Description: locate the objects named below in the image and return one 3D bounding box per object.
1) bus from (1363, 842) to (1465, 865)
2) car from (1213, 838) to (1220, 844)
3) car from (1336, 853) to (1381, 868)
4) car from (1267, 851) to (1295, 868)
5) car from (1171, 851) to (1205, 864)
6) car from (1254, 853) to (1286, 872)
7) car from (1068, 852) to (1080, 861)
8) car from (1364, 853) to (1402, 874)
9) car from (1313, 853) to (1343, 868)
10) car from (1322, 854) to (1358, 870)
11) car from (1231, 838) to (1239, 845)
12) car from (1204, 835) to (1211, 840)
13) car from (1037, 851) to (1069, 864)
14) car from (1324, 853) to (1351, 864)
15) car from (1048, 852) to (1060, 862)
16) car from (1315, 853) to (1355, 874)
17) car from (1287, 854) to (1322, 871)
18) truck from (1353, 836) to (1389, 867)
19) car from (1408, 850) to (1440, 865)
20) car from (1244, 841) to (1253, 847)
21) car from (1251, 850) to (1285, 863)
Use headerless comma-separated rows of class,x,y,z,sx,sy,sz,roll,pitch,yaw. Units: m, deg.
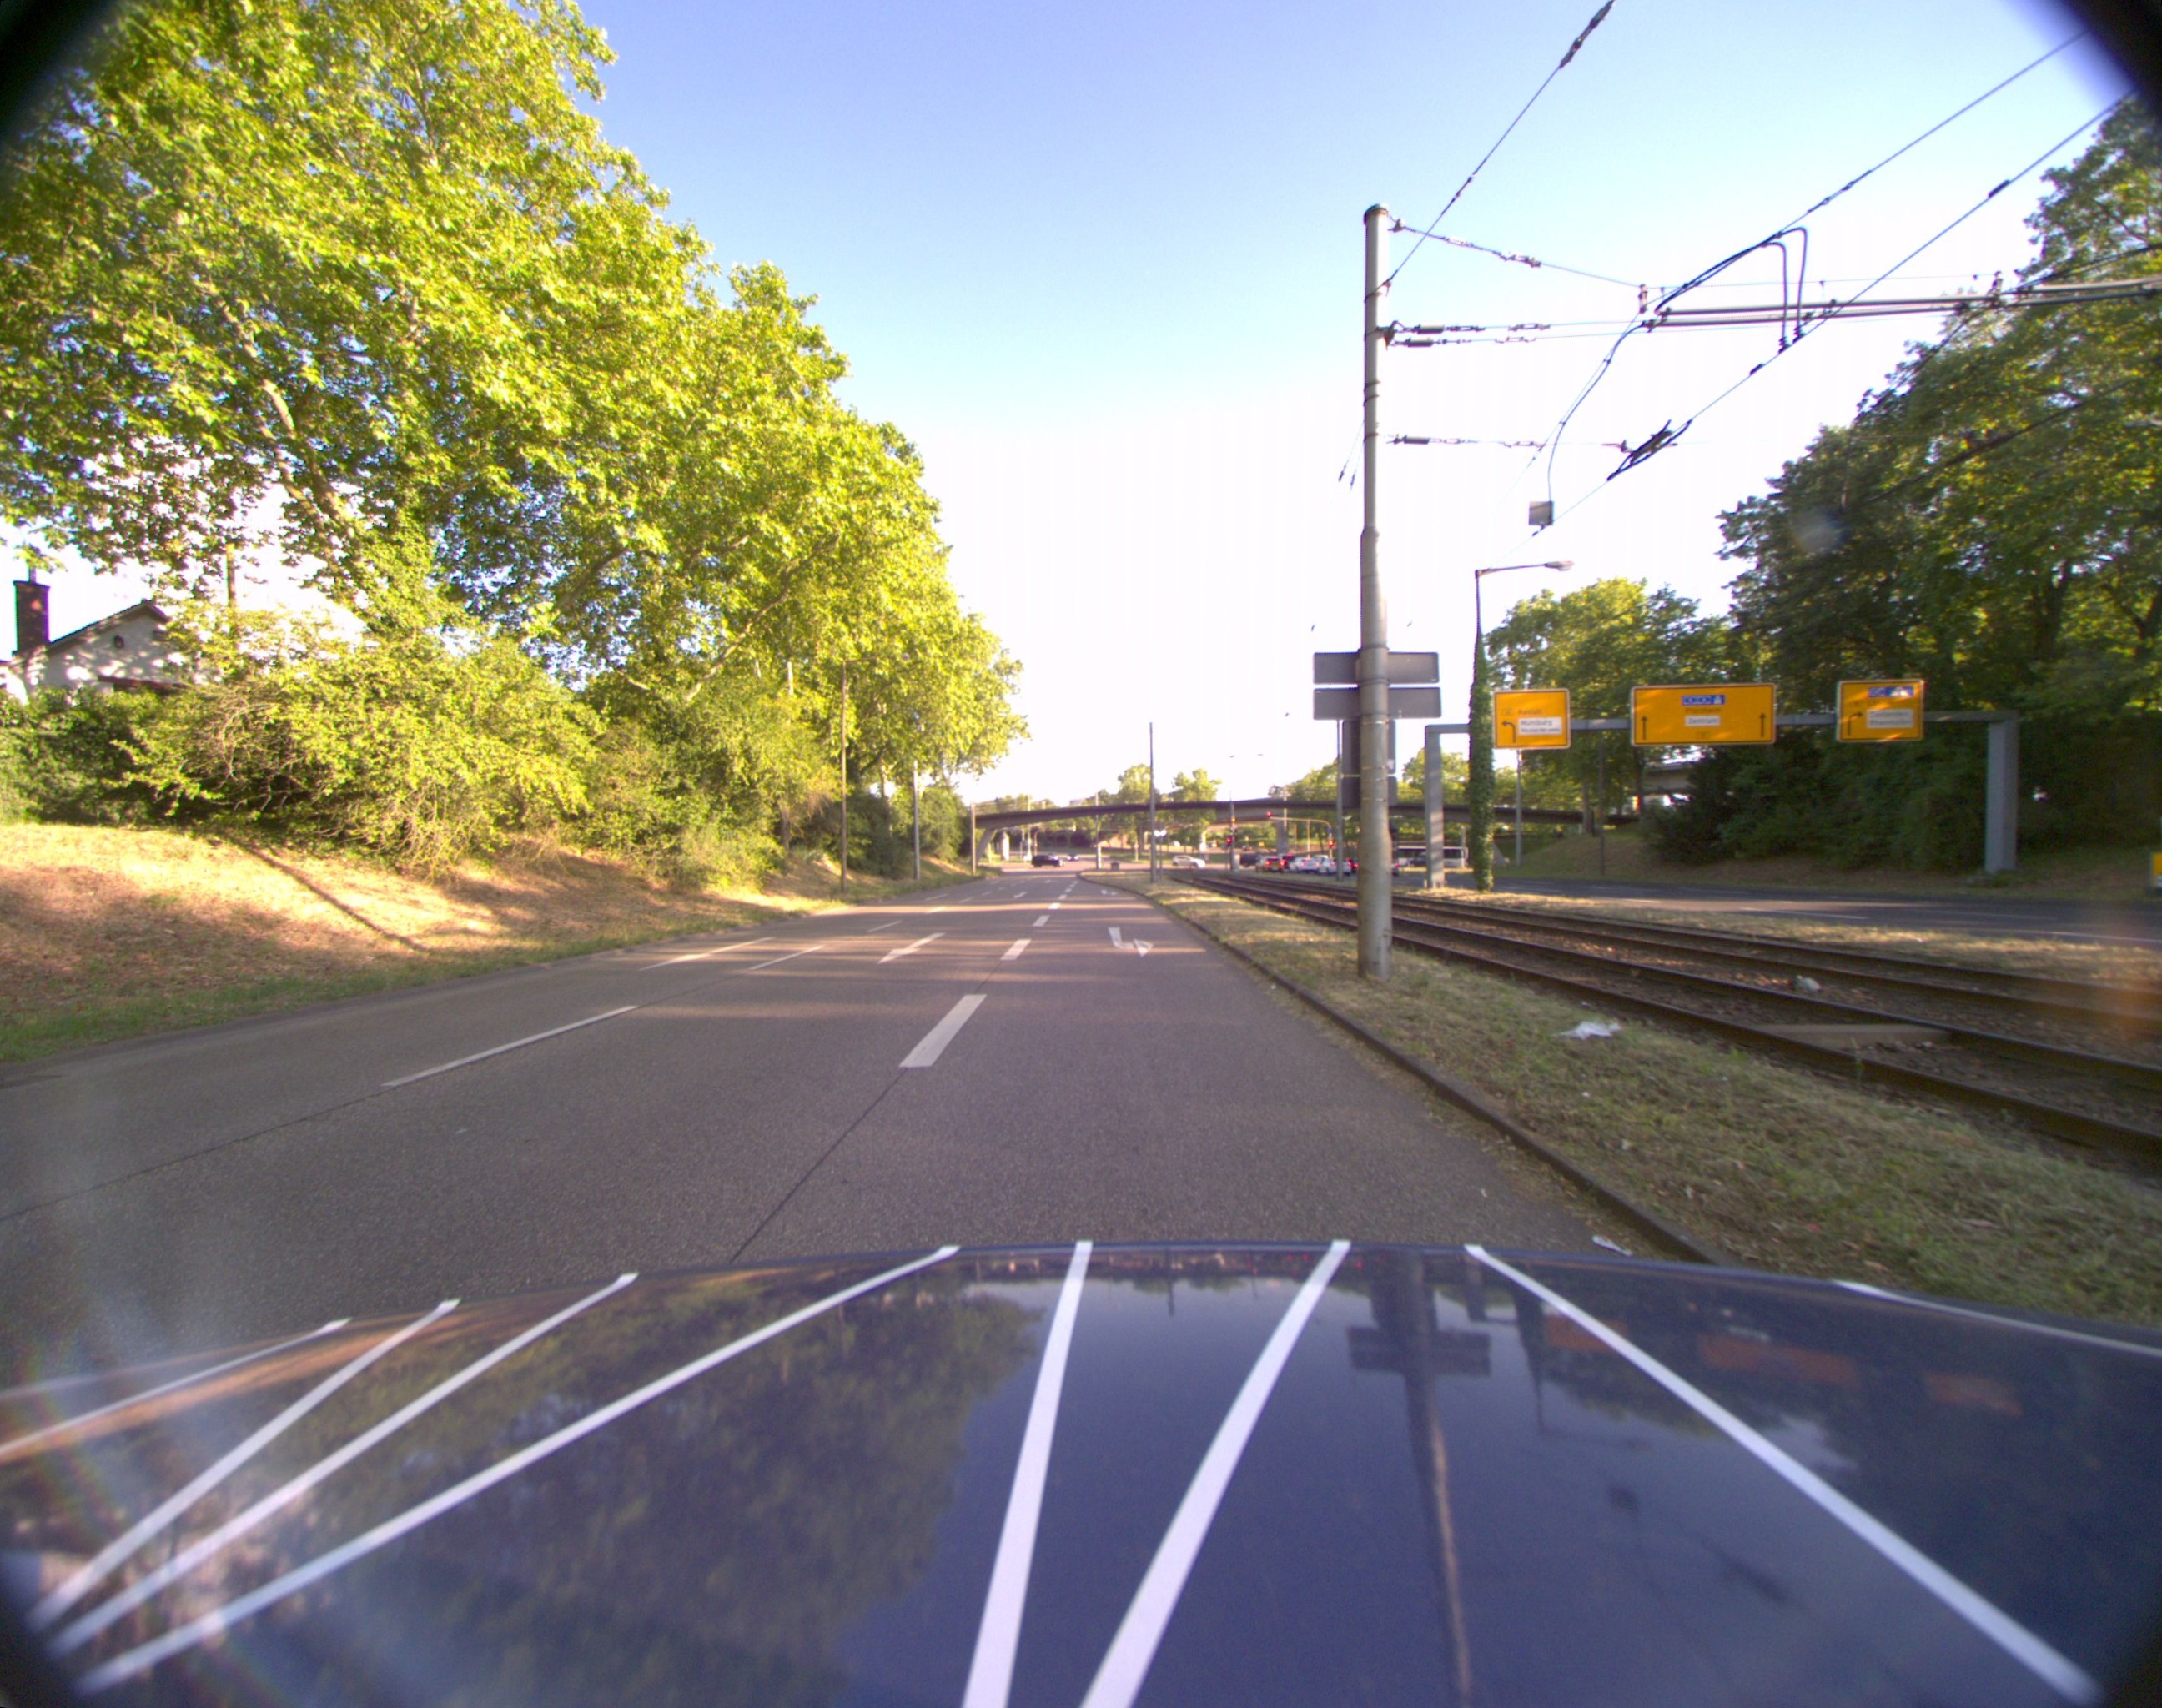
bus,47.250,-0.032,108.169,13.162,2.846,2.421,-2,1,25
car,39.765,-3.870,222.464,1.832,1.609,3.983,-2,1,7
car,32.396,0.704,88.680,4.799,1.563,1.941,-2,0,17
car,19.598,0.528,74.556,1.917,1.540,4.228,-1,0,4
car,13.361,0.399,95.004,4.022,1.485,1.625,-2,1,17
car,16.154,0.704,65.050,1.767,1.535,4.000,-1,0,0
car,-1.241,0.463,141.699,1.905,1.726,3.998,-2,0,-5
car,23.886,0.727,60.213,1.812,1.535,4.002,-1,0,7
car,24.944,0.606,76.843,1.917,1.416,4.228,-1,0,5
car,23.745,0.697,69.854,1.868,1.416,4.226,-1,0,0
car,41.752,-3.405,206.425,1.832,1.609,3.983,-2,1,7
car,39.328,-5.035,235.749,1.832,1.609,3.983,-2,1,7
car,-3.815,0.451,104.079,3.993,1.646,1.786,-2,1,14
car,37.989,0.628,112.456,3.647,1.503,1.665,-2,1,20
car,-4.885,0.510,139.023,1.960,1.779,3.998,-2,0,-5
car,19.974,0.726,59.865,1.767,1.535,4.000,-1,0,0
car,19.945,0.750,67.897,1.918,1.416,4.227,-1,0,2
truck,28.390,-0.212,74.615,2.281,2.862,6.887,-1,0,13
car,46.610,0.432,103.242,3.805,1.848,1.679,-2,1,20
car,42.443,-2.581,192.687,1.832,1.609,3.983,-2,1,7
car,23.486,0.286,95.469,4.005,1.485,1.698,-2,1,20
